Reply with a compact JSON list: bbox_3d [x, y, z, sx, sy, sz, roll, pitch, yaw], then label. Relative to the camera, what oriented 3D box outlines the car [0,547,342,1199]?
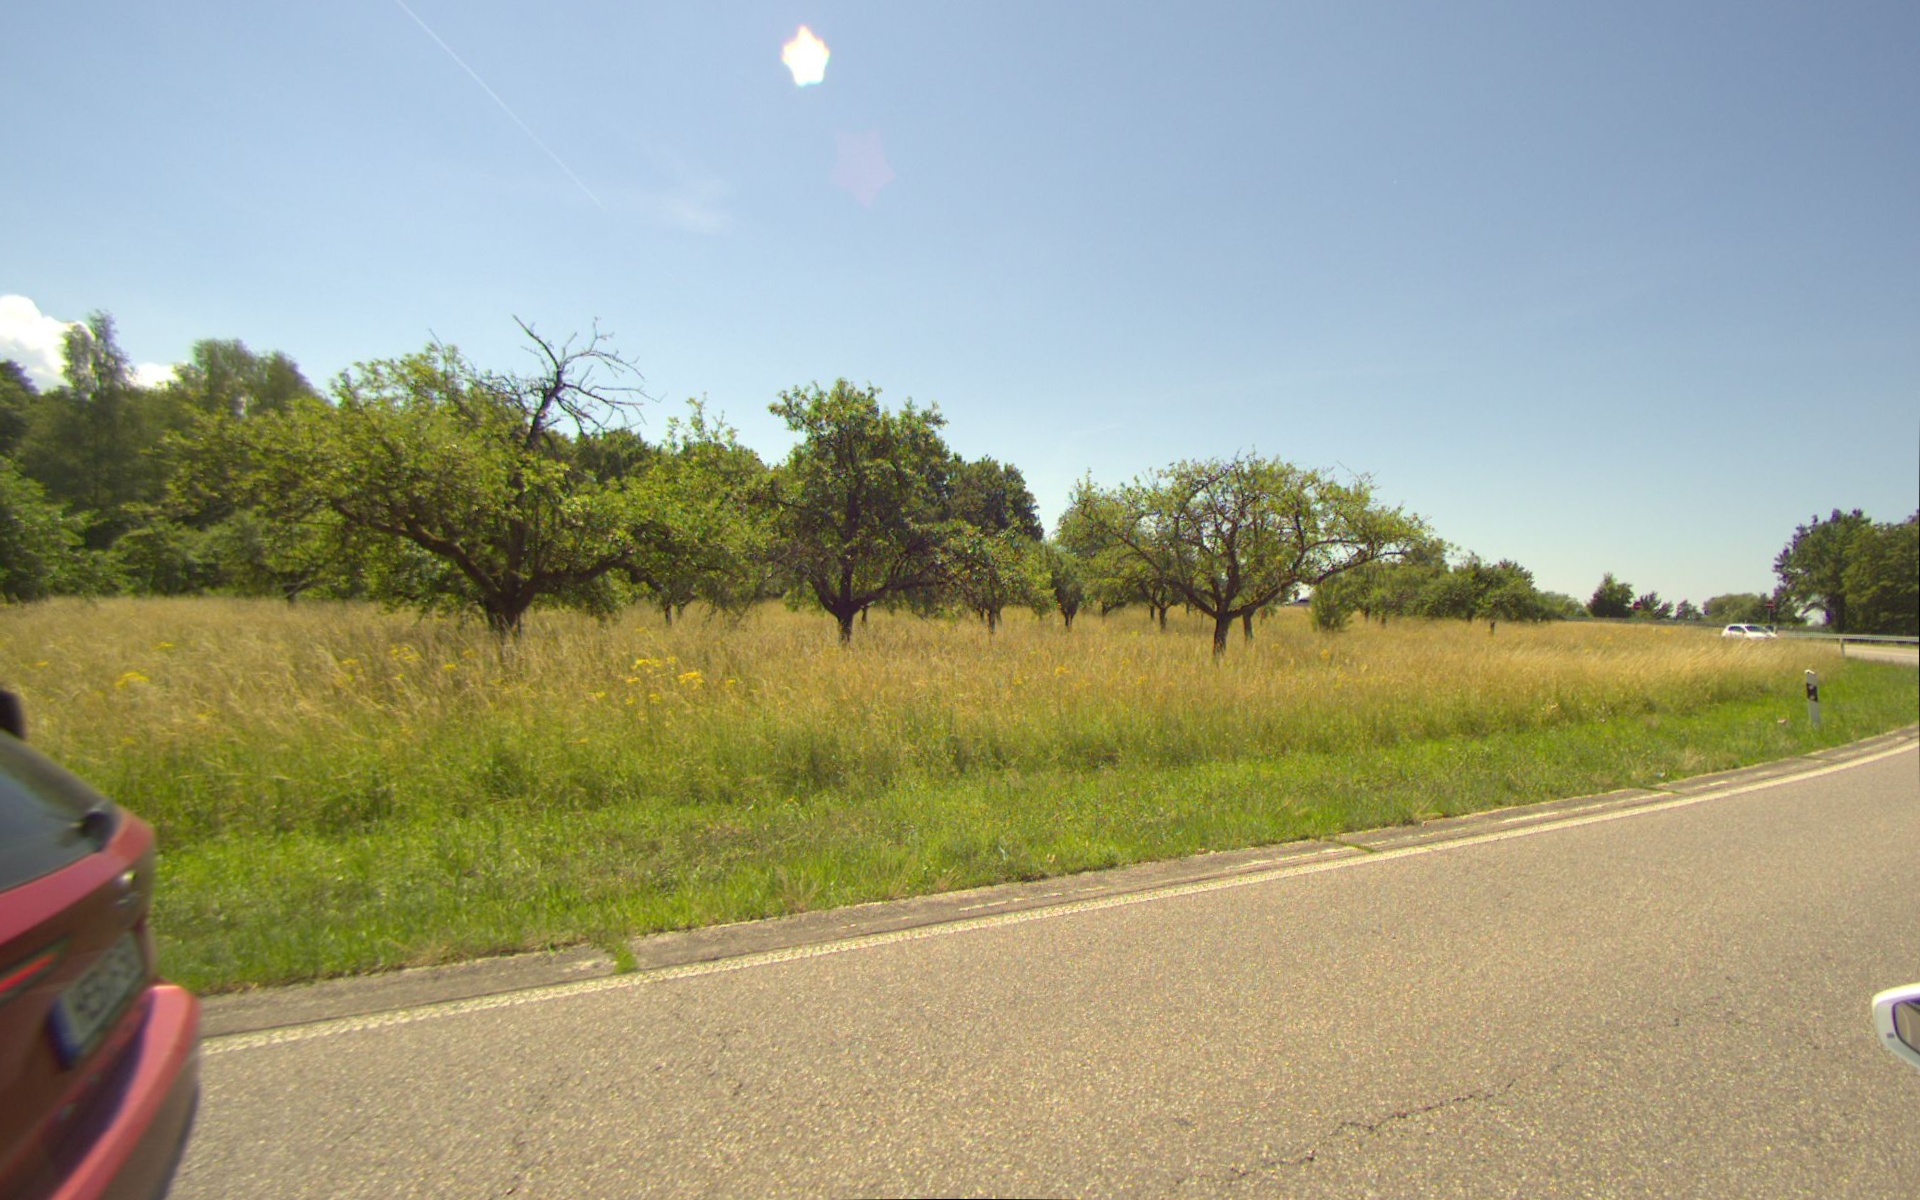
[{"bbox_3d":[-3.275,0.617,1.001,4.347,1.477,1.815,4,-5,-29],"label":"car"}]

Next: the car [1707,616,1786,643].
[{"bbox_3d":[52.152,1.915,66.703,1.793,1.526,4.171,5,-1,-2],"label":"car"}]
